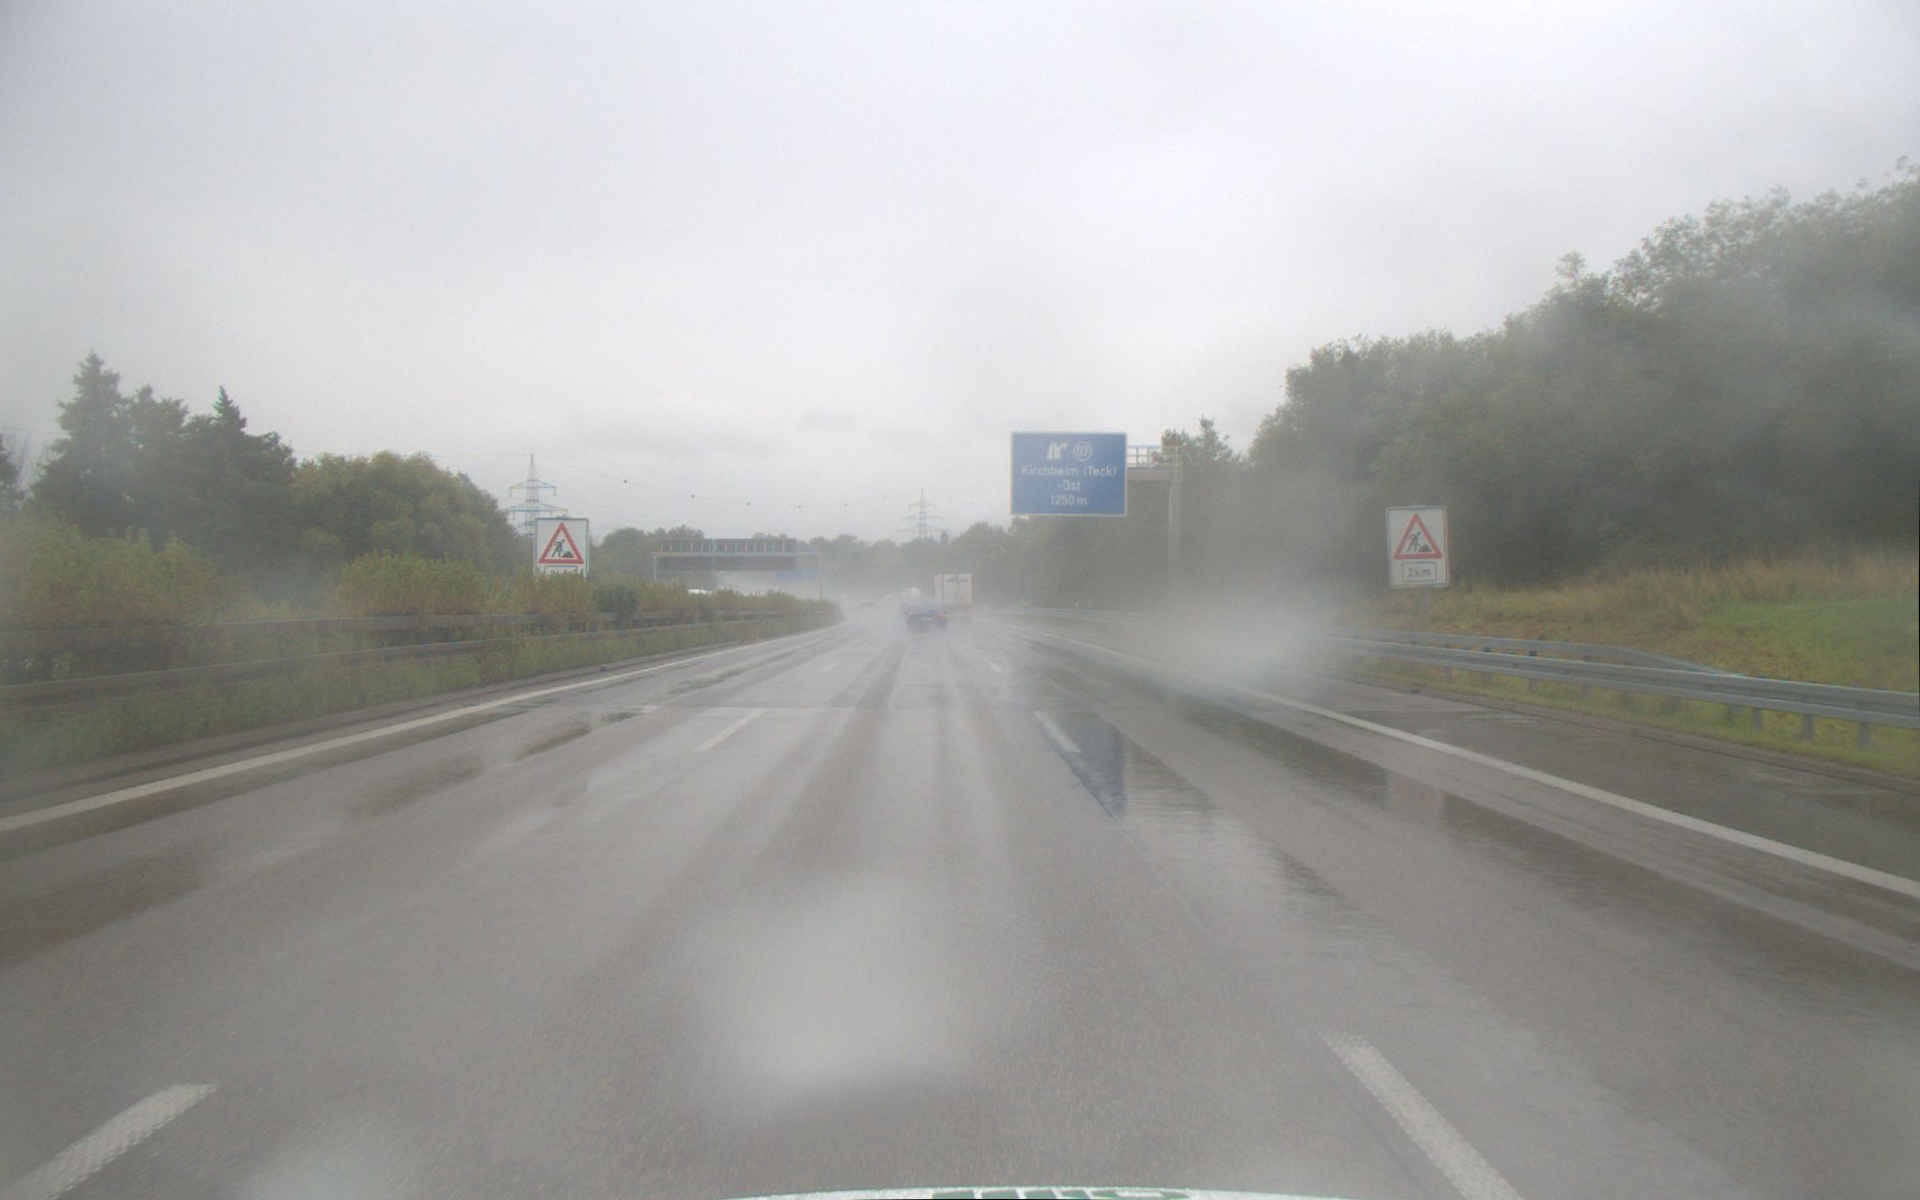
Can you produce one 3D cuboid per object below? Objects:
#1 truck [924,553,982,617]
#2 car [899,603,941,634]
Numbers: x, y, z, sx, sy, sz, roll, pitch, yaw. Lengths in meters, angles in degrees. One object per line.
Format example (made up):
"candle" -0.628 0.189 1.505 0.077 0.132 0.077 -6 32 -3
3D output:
"truck" -0.740 -1.298 144.837 4.172 5.058 17.332 -3 1 -3
"car" -1.742 0.782 71.572 1.713 1.233 3.999 1 0 -2
